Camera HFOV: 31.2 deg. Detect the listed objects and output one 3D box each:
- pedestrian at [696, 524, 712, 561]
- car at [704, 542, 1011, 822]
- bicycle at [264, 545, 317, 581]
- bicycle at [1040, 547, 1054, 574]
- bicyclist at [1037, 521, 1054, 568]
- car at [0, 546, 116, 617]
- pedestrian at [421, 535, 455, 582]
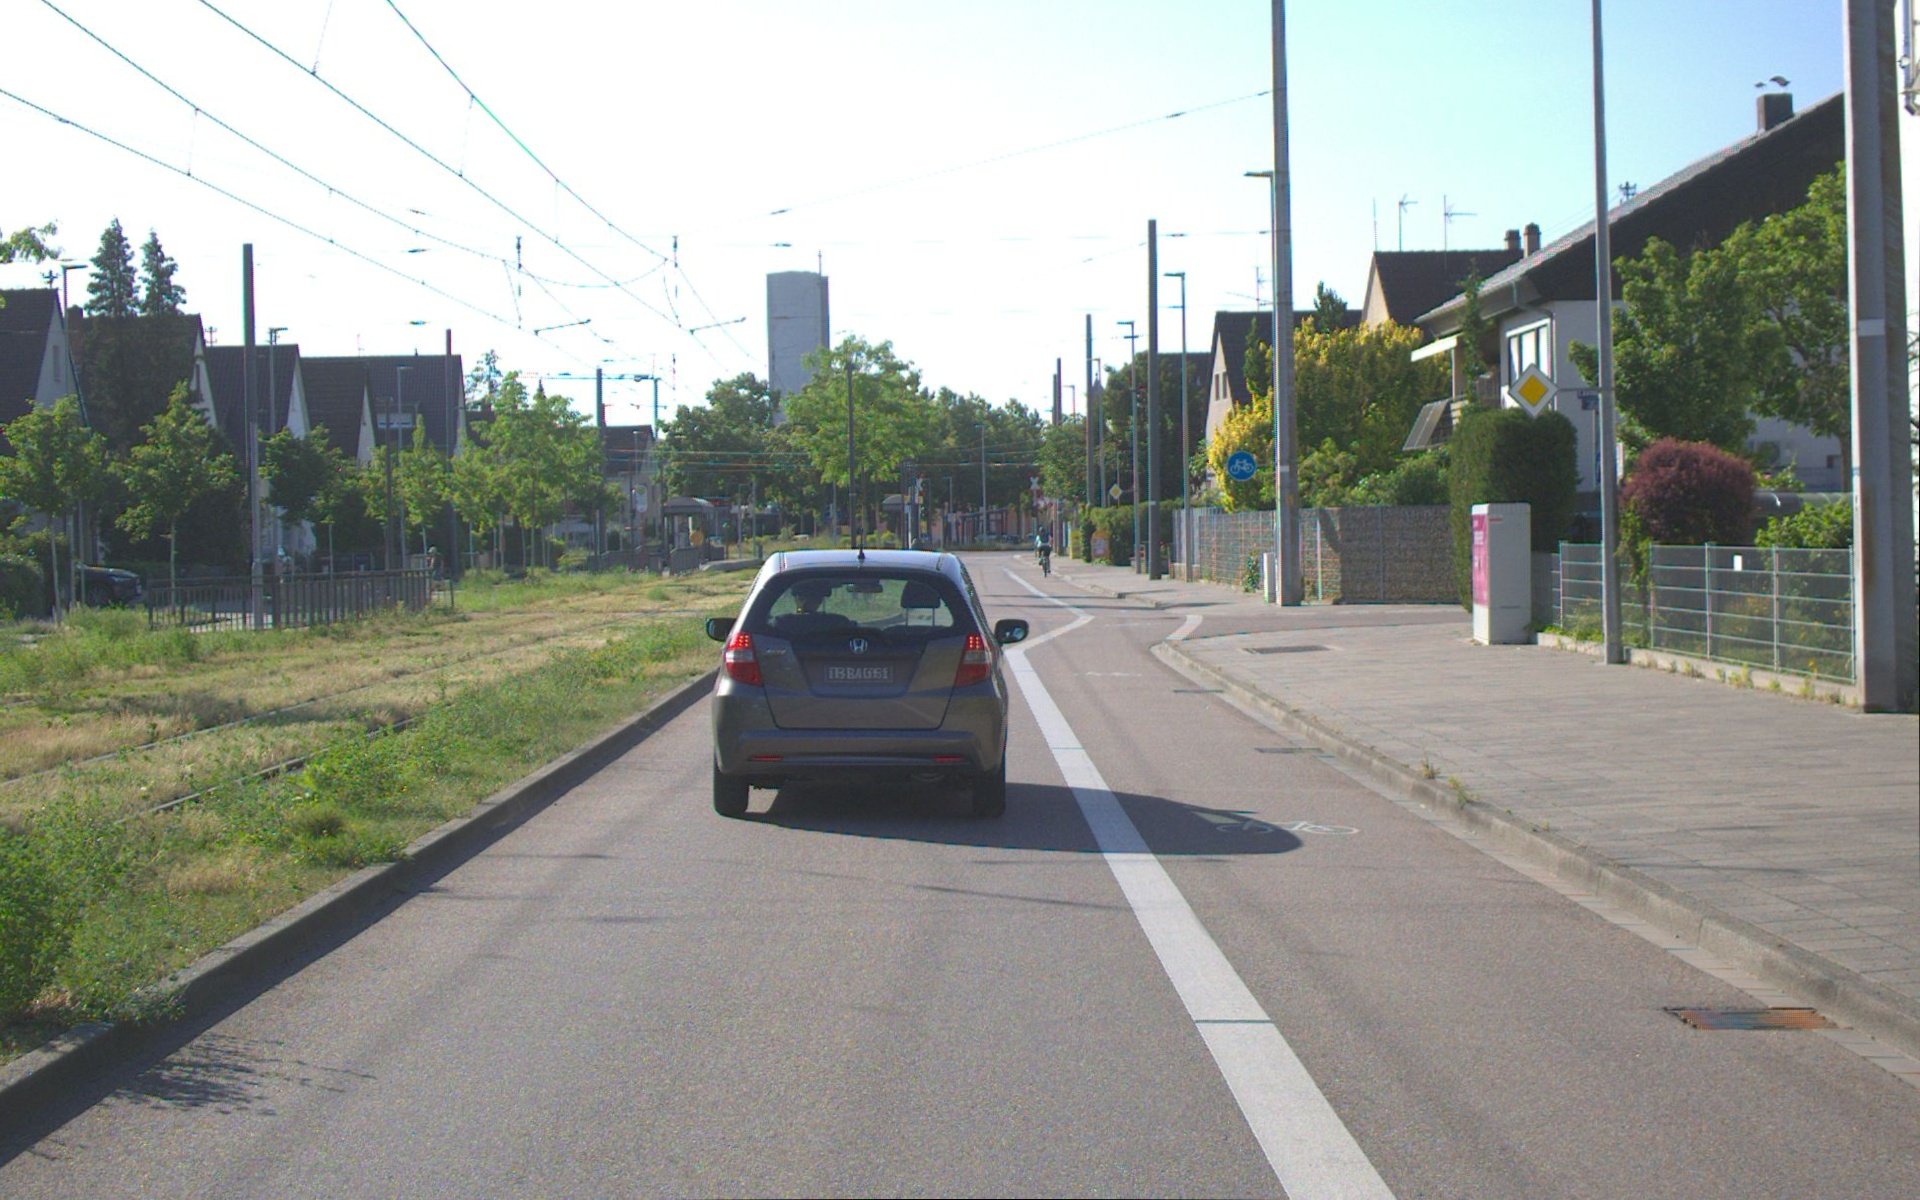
[{"bbox_3d":[-10.989,-2.469,147.519,0.675,1.530,0.749,-1,1,-4],"label":"pedestrian"},{"bbox_3d":[-0.612,0.426,20.550,1.670,1.530,3.487,0,1,-2],"label":"car"},{"bbox_3d":[-26.456,-1.467,135.831,1.988,1.361,0.705,-1,1,-6],"label":"bicycle"},{"bbox_3d":[3.181,-1.445,125.223,0.475,0.958,1.657,0,1,0],"label":"bicycle"},{"bbox_3d":[3.113,-2.005,124.983,0.598,1.695,0.683,0,1,0],"label":"bicyclist"},{"bbox_3d":[-24.451,-0.466,89.816,4.539,1.728,2.053,-2,1,-11],"label":"car"},{"bbox_3d":[-18.277,-1.461,120.374,0.965,1.635,1.086,-1,1,0],"label":"pedestrian"}]
